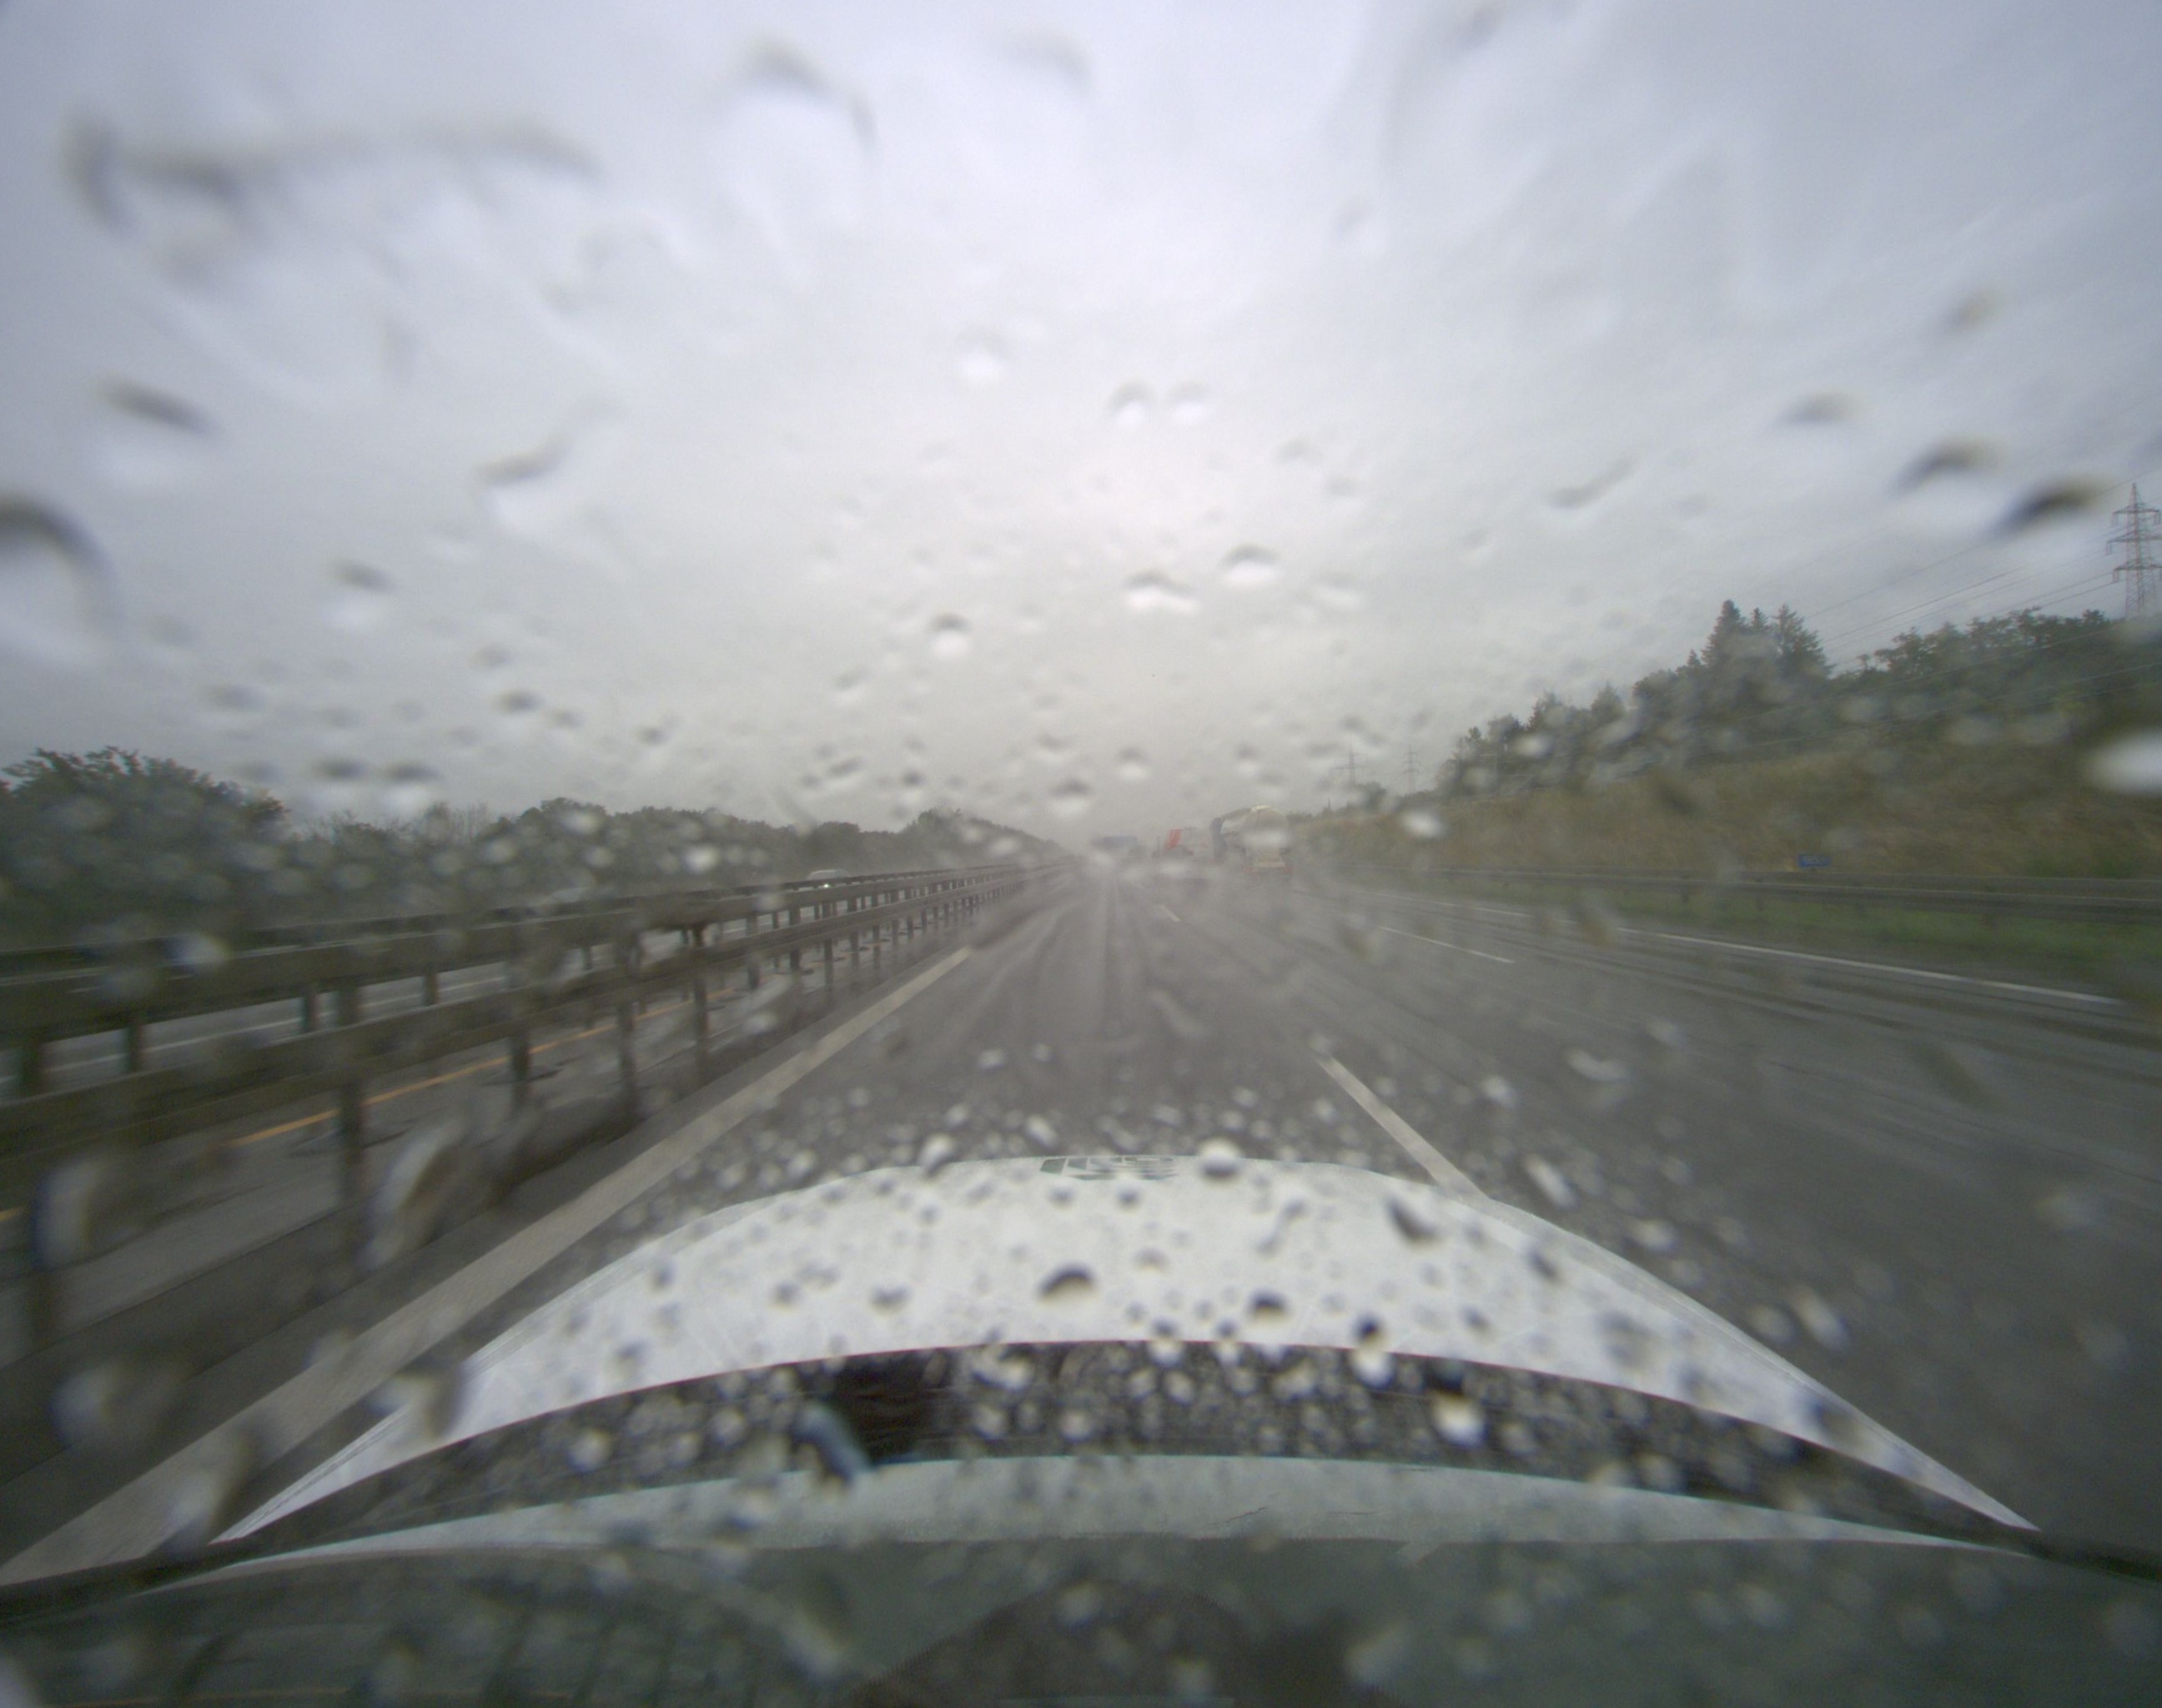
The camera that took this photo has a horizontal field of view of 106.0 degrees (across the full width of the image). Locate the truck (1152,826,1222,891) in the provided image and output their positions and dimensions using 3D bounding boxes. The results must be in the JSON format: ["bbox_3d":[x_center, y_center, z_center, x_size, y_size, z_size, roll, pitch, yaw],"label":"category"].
[{"bbox_3d":[4.367,0.184,34.537,2.410,2.492,5.562,-1,0,2],"label":"truck"}]

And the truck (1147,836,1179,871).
[{"bbox_3d":[11.580,0.070,116.597,3.029,4.588,16.350,-1,-1,1],"label":"truck"}]

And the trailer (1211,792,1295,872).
[{"bbox_3d":[9.335,-1.056,45.525,2.488,3.882,11.067,-1,0,1],"label":"trailer"}]

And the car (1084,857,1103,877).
[{"bbox_3d":[1.250,1.200,77.678,1.695,1.818,3.863,-1,0,2],"label":"car"}]

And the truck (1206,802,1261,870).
[{"bbox_3d":[9.478,-1.058,51.028,2.488,3.983,5.076,-1,0,1],"label":"truck"}]

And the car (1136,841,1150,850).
[{"bbox_3d":[13.492,-1.827,177.011,2.778,2.013,4.994,-1,0,1],"label":"car"}]

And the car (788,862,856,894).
[{"bbox_3d":[-13.639,1.222,43.213,1.986,1.530,4.656,-1,0,1],"label":"car"}]

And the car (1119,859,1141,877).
[{"bbox_3d":[3.844,1.086,64.523,1.600,1.338,3.849,-1,0,1],"label":"car"}]

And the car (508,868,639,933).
[{"bbox_3d":[-18.422,1.622,29.847,1.986,2.104,4.387,-1,0,1],"label":"car"}]
